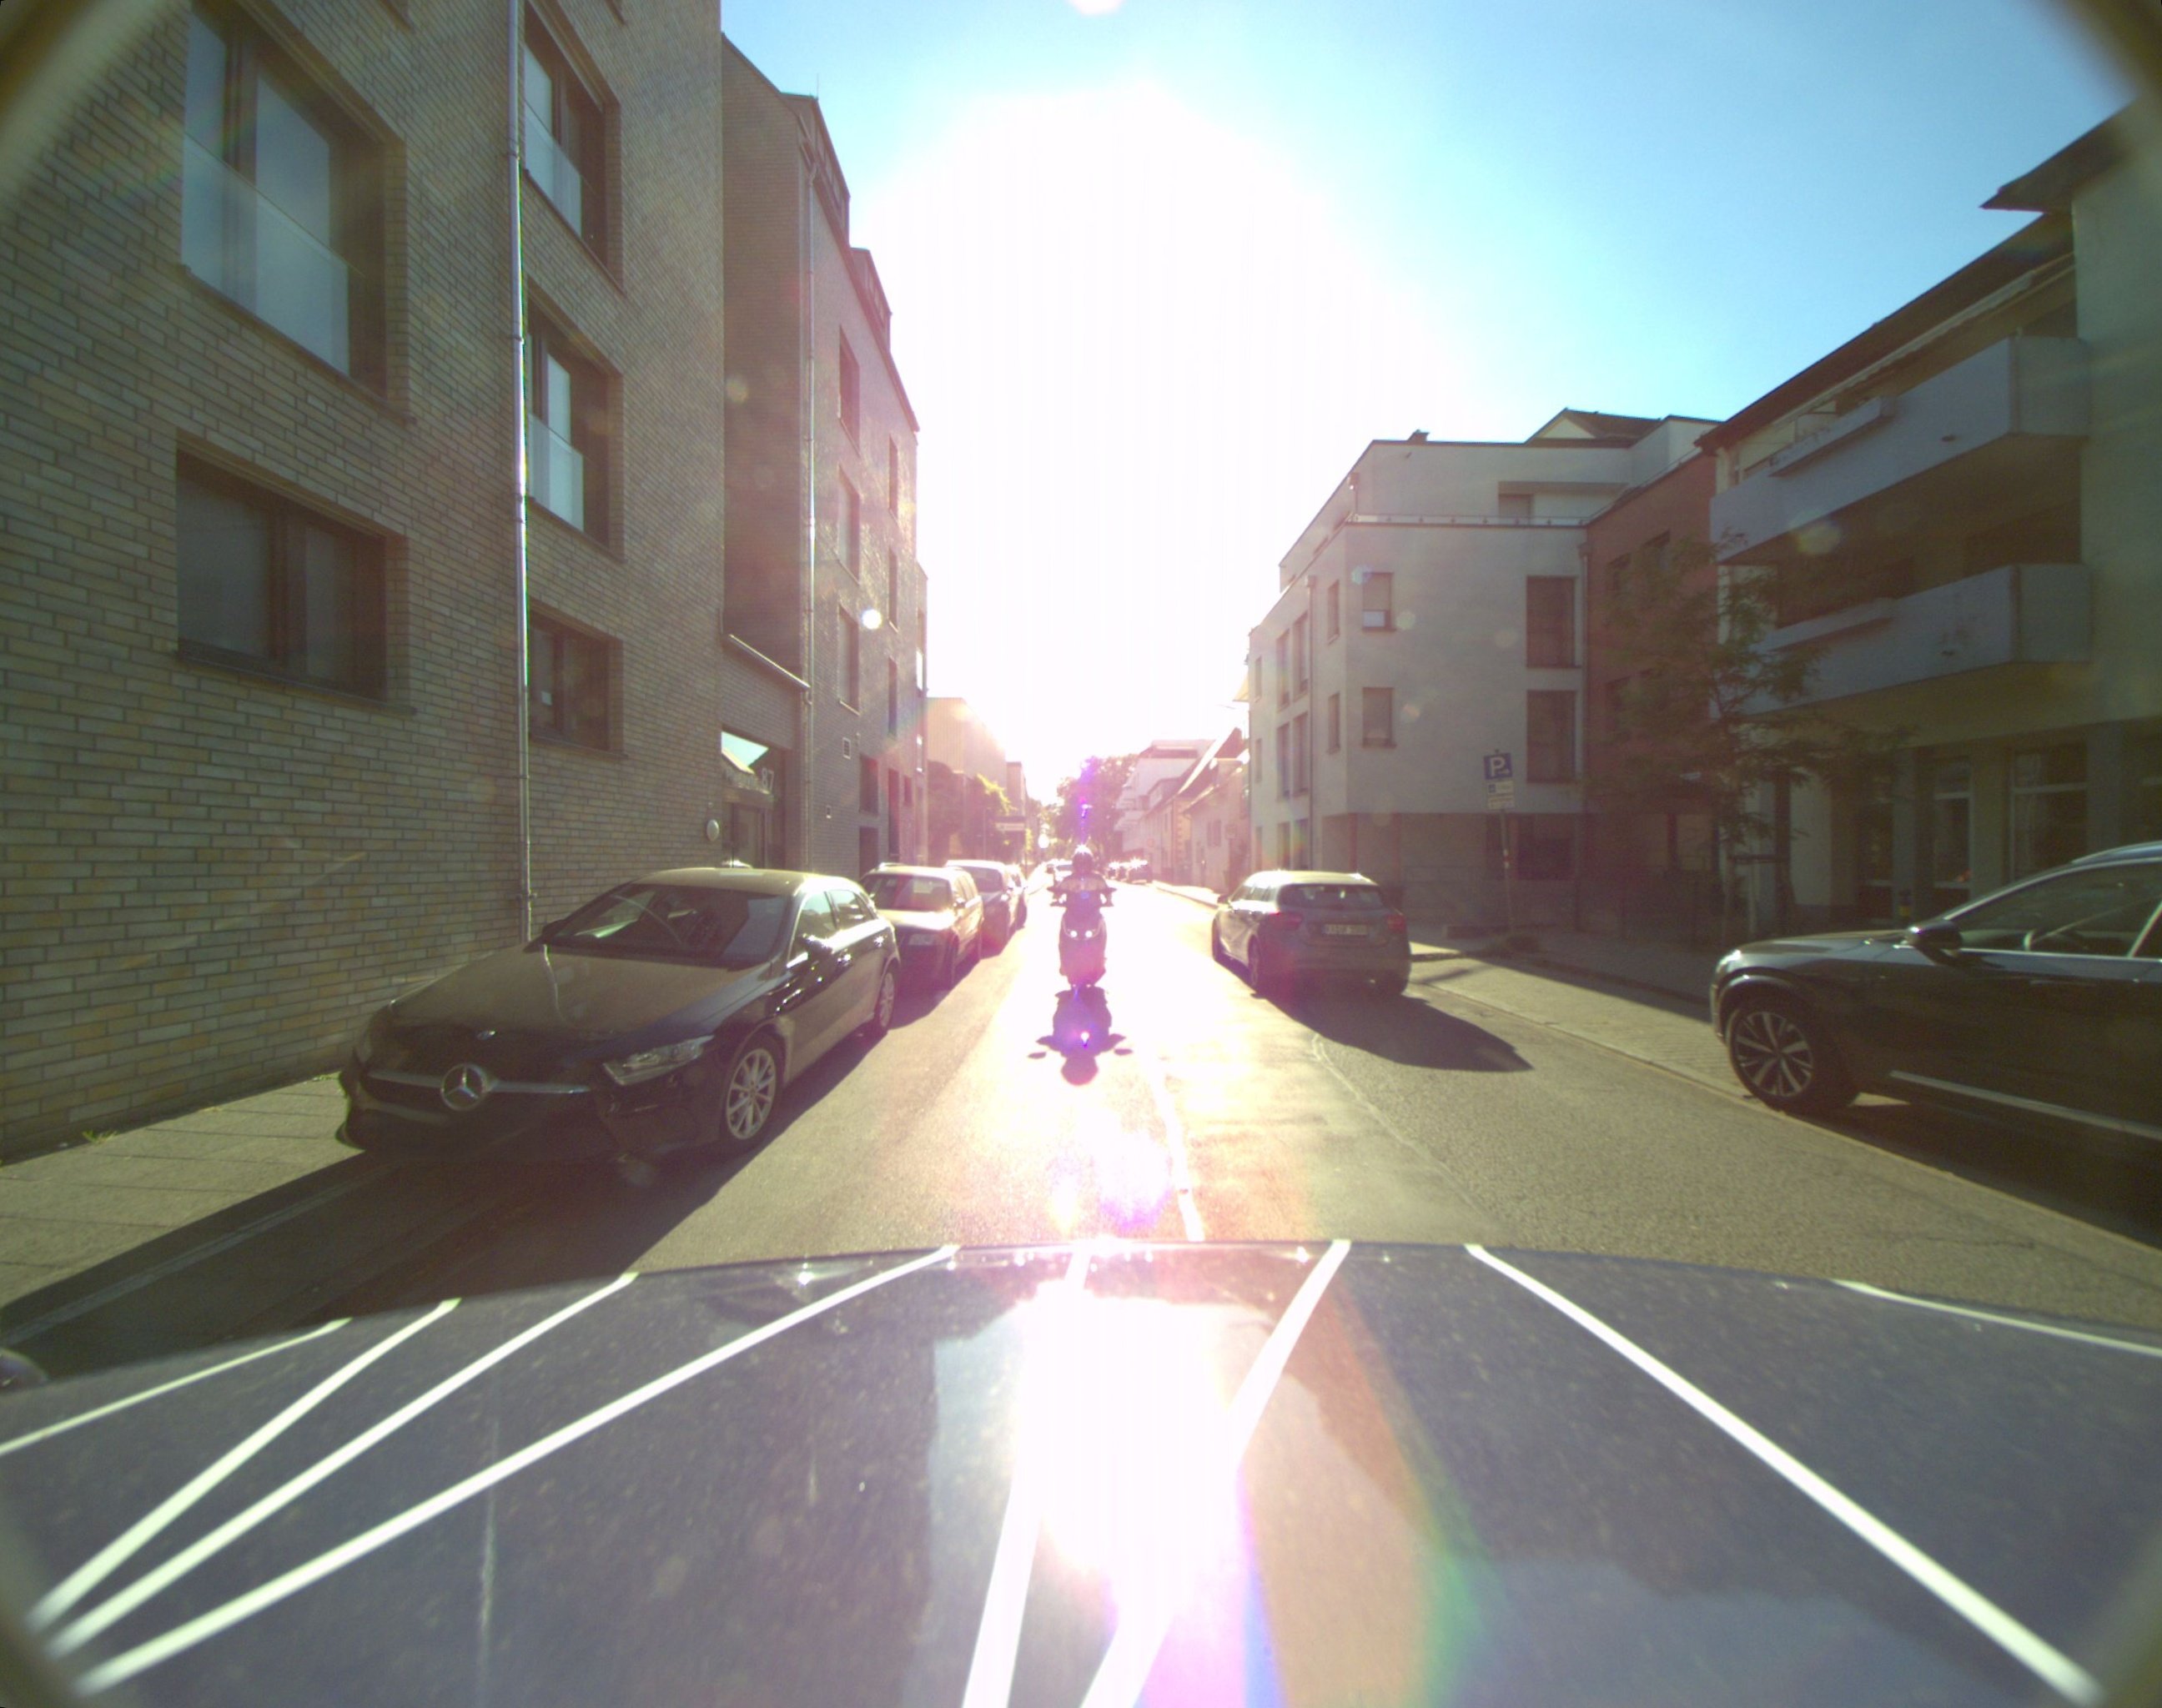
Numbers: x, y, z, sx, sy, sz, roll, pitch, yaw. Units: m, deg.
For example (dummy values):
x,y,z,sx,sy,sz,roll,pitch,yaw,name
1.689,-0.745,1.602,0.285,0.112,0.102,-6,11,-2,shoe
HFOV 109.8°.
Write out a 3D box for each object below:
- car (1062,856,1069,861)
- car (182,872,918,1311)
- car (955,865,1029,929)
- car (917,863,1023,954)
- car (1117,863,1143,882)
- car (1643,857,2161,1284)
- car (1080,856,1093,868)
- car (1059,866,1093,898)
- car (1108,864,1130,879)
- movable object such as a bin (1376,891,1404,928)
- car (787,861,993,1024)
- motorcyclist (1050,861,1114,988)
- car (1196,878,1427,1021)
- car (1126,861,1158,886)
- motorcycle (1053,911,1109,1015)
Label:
x,y,z,sx,sy,sz,roll,pitch,yaw,name
-4.528,1.425,220.478,1.998,1.345,4.000,1,0,0,car
-2.572,0.977,5.275,1.729,1.520,4.626,4,0,1,car
-2.285,1.064,20.301,1.732,1.515,3.653,1,0,-3,car
-2.163,1.006,15.833,1.655,1.582,4.342,2,-1,-2,car
4.265,1.602,66.817,1.999,1.613,4.000,1,0,0,car
5.412,0.897,3.457,1.936,1.695,5.101,-2,0,1,car
0.775,1.109,107.046,1.736,1.456,3.999,-3,1,0,car
-0.291,1.451,40.622,1.708,1.569,3.915,-2,0,-1,car
3.793,1.754,76.987,1.999,1.458,4.000,1,0,0,car
7.591,1.355,18.684,0.491,0.870,0.433,1,0,-3,movable object such as a bin
-2.328,0.976,10.585,1.671,1.723,4.839,1,0,0,car
0.017,0.799,8.972,0.717,1.424,0.746,1,0,1,motorcyclist
2.842,1.122,10.352,1.812,1.458,3.999,1,0,-2,car
4.634,1.479,58.150,1.999,1.618,4.000,-6,0,0,car
0.012,1.249,9.155,0.598,1.004,1.822,1,0,1,motorcycle
